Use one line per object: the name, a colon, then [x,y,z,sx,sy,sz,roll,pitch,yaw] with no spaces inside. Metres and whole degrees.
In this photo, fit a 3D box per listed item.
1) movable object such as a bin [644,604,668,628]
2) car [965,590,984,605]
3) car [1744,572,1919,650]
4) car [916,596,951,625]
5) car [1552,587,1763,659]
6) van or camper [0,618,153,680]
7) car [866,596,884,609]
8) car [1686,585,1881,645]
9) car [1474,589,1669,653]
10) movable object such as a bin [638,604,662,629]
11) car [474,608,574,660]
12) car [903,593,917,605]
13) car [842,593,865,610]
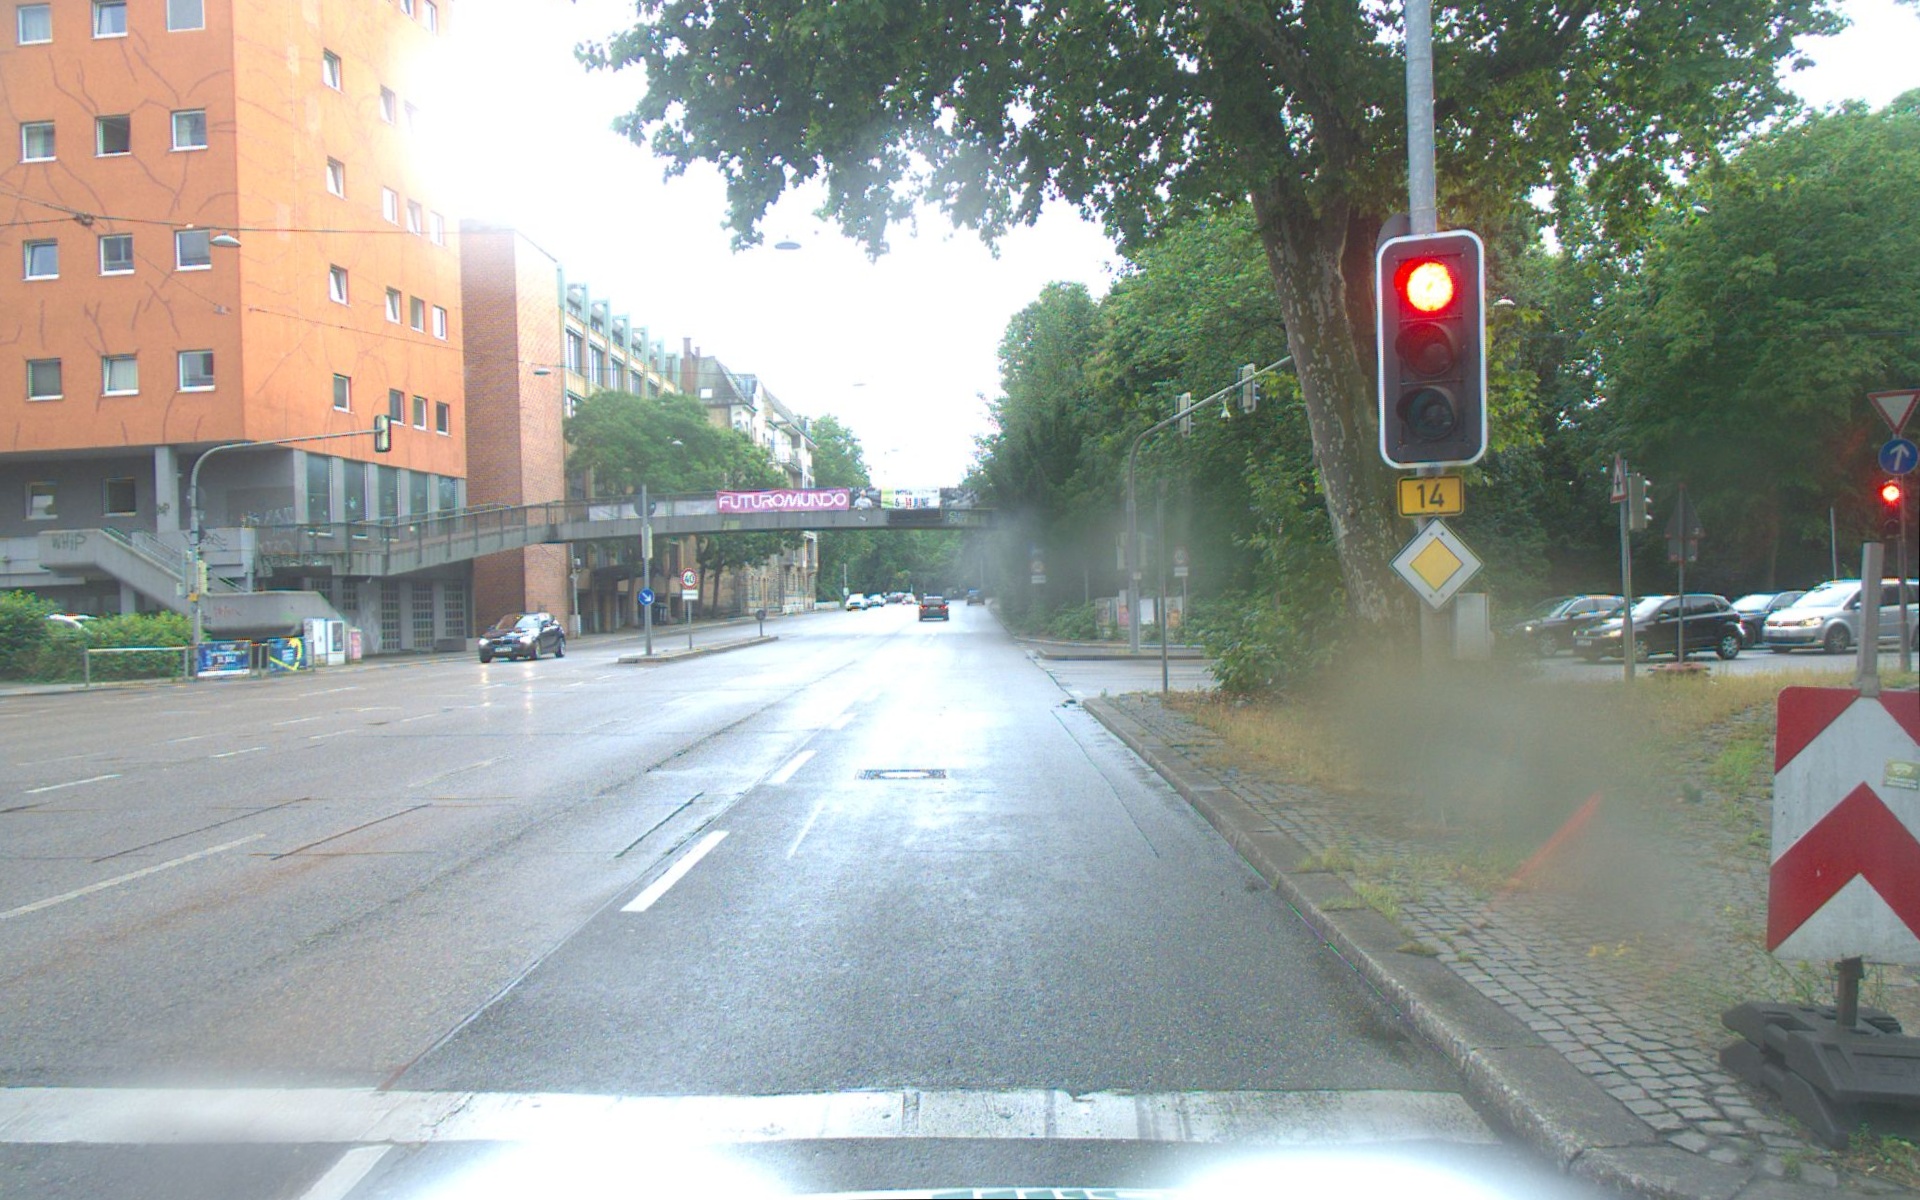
movable object such as a bin: [-19.874,1.036,108.153,1.272,1.545,1.214,-1,0,1]
car: [1.441,-0.252,163.422,1.805,1.478,3.776,1,0,-1]
car: [20.633,0.262,38.505,4.129,1.709,1.898,1,0,-17]
car: [-1.593,0.626,99.335,1.964,1.672,4.374,-1,0,-2]
car: [15.374,0.512,36.506,4.119,1.486,1.785,1,0,-17]
van or camper: [-25.685,1.405,47.644,3.902,1.656,1.915,-1,0,5]
car: [-9.825,0.297,191.318,1.673,1.490,4.042,-2,0,2]
car: [20.861,0.380,41.925,4.361,1.427,1.821,1,0,-17]
car: [14.865,0.518,40.256,4.131,1.466,1.941,1,0,-17]
movable object such as a bin: [-19.987,1.049,106.558,1.256,1.545,1.273,-1,0,1]
car: [-13.232,1.036,50.411,1.650,1.444,4.216,-2,-1,4]
car: [-6.520,-0.096,216.052,1.648,1.461,3.862,-2,0,0]
car: [-10.657,0.110,165.551,1.850,1.638,4.457,-1,0,2]
